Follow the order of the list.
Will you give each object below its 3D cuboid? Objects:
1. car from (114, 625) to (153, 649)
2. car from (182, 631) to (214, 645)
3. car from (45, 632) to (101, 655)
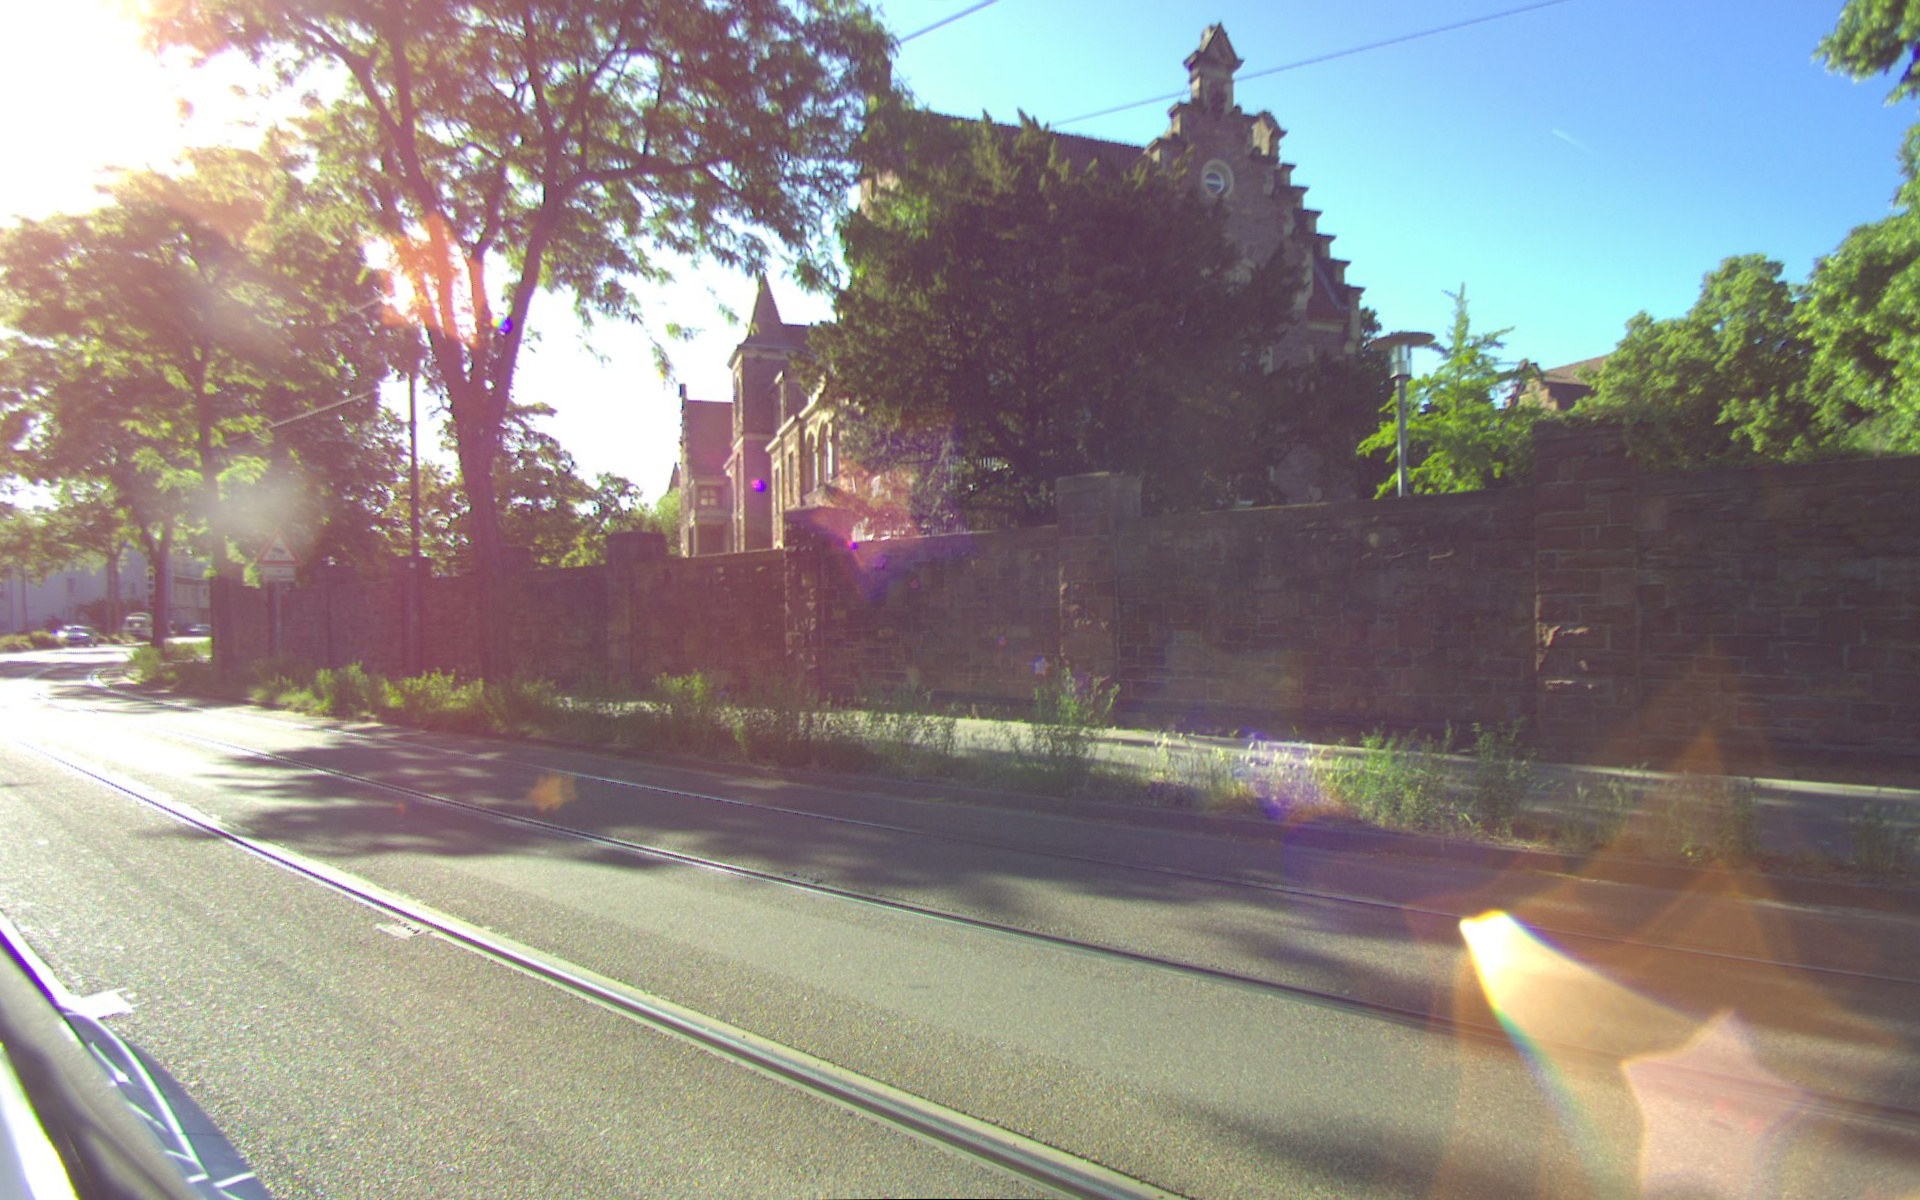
[{"bbox_3d":[-73.602,3.273,90.186,1.966,2.111,4.730,0,-2,-31],"label":"car"},{"bbox_3d":[-88.200,4.371,117.147,1.714,1.507,4.544,-1,-1,-20],"label":"car"},{"bbox_3d":[-64.806,3.163,74.041,1.973,1.476,5.449,4,-3,-30],"label":"car"}]
